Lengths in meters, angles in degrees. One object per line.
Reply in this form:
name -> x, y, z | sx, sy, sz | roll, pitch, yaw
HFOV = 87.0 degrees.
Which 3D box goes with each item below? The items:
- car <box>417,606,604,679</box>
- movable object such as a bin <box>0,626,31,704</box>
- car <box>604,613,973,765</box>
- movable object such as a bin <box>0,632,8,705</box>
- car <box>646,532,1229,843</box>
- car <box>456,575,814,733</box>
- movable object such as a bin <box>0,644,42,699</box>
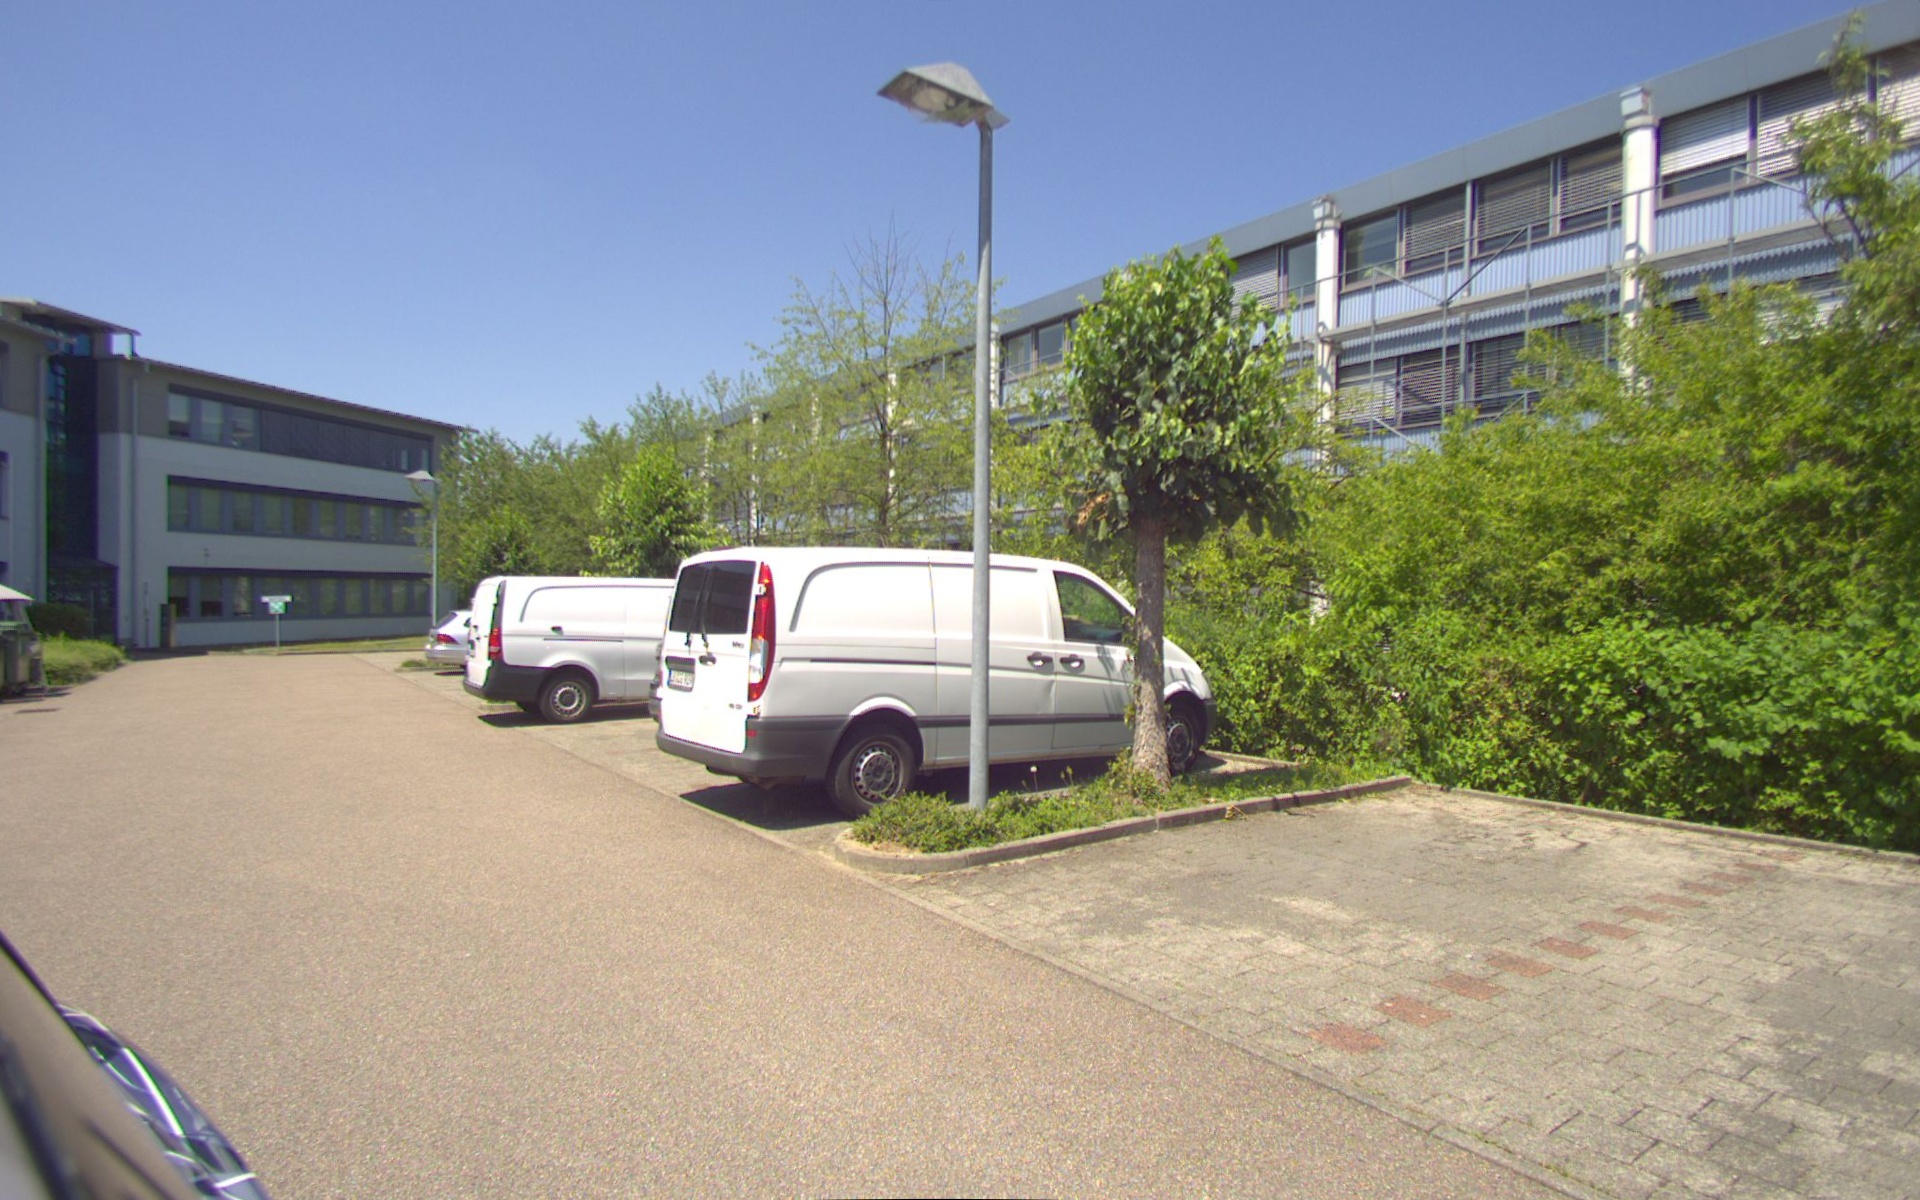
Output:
car -> -10.394, 0.920, 23.503 | 3.704, 1.569, 1.664 | 0, -1, -37
movable object such as a bin -> -17.007, 1.117, 17.383 | 1.341, 1.306, 1.046 | 0, -1, -31
car -> -1.829, 0.864, 11.349 | 3.789, 1.404, 1.580 | 0, -1, -37
movable object such as a bin -> -16.508, 1.146, 16.429 | 1.341, 1.198, 1.000 | 0, -1, -31
car -> 0.005, 0.554, 8.403 | 4.658, 1.920, 1.833 | 0, -1, -37
car -> -4.459, 0.656, 14.207 | 4.447, 1.896, 1.833 | 0, -1, -37
movable object such as a bin -> -17.207, 1.288, 18.354 | 0.679, 0.956, 0.724 | 0, -1, -31
